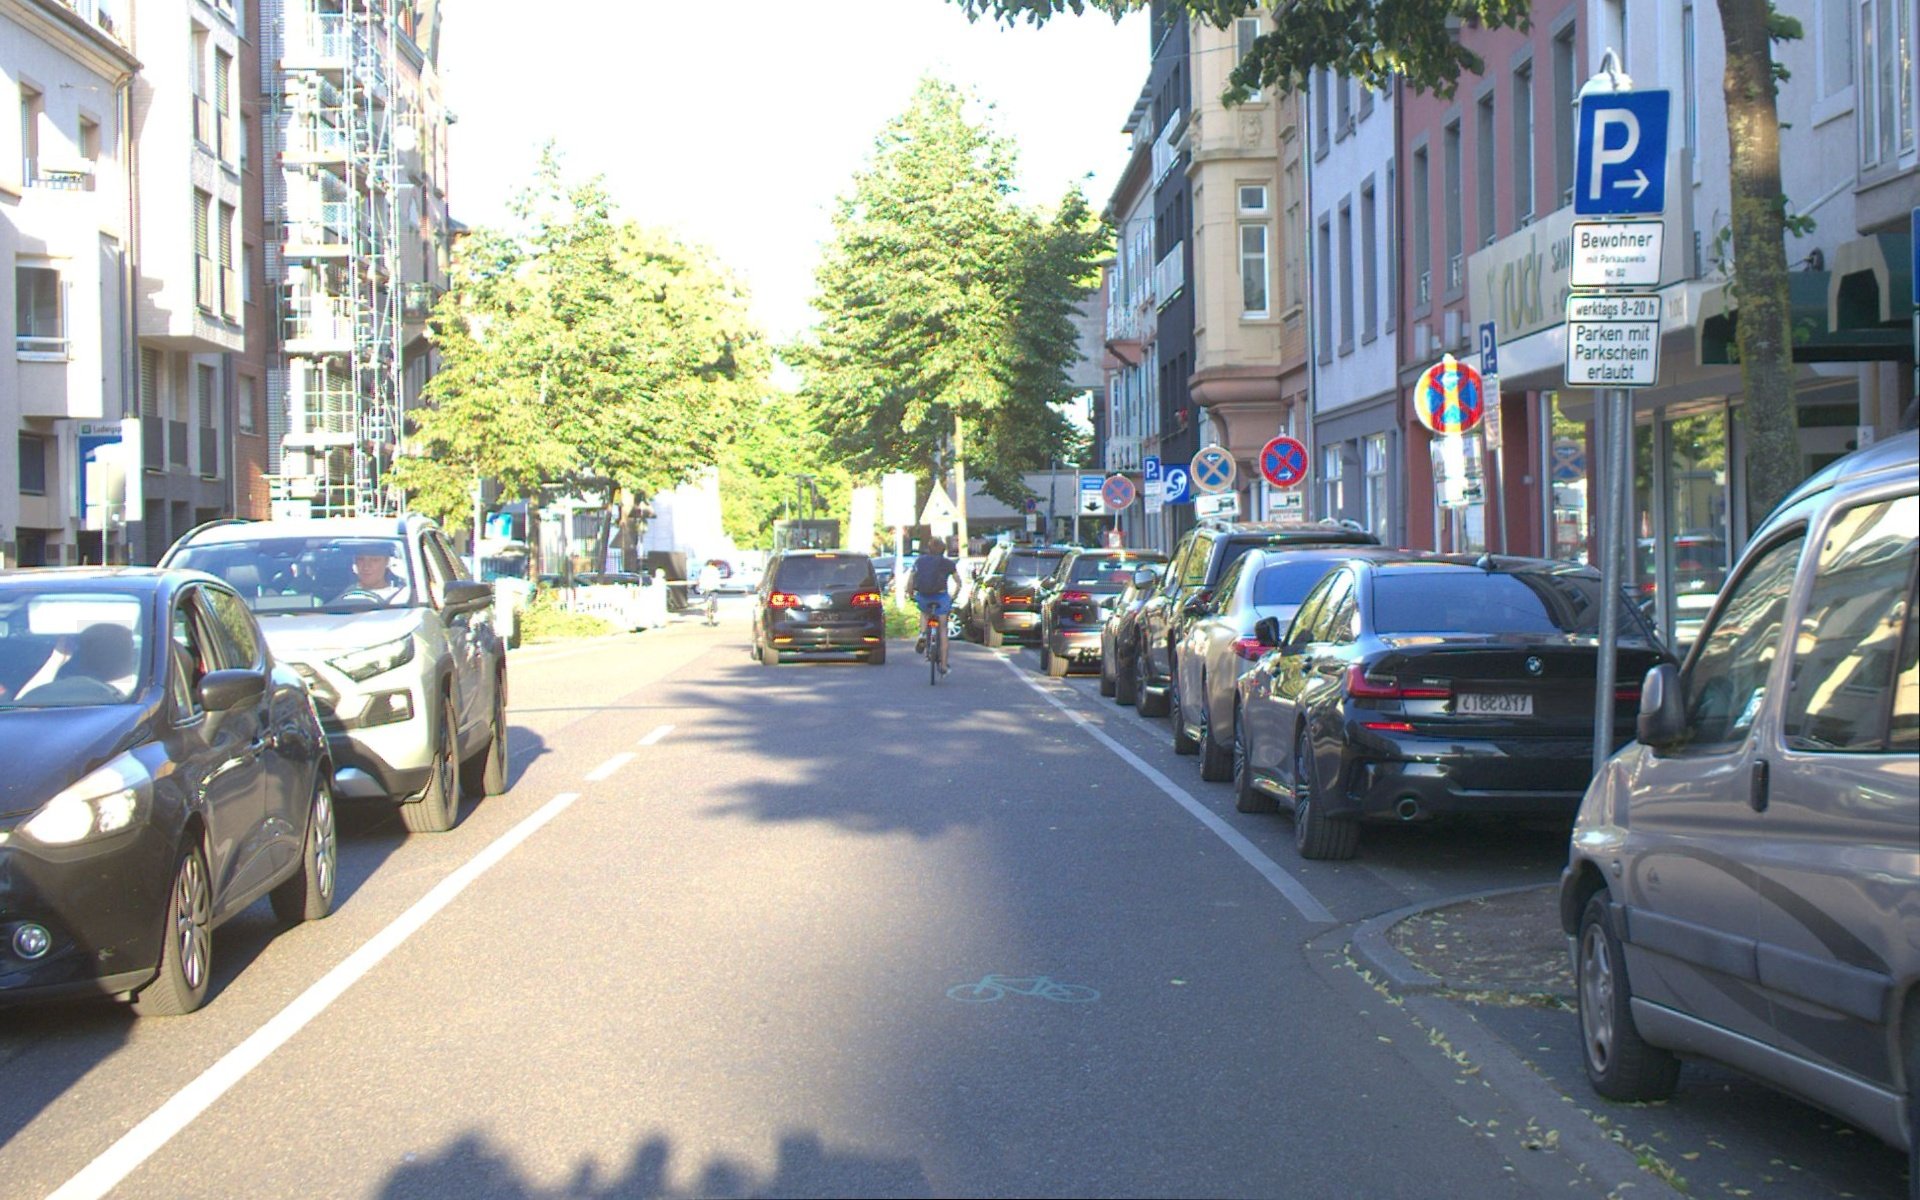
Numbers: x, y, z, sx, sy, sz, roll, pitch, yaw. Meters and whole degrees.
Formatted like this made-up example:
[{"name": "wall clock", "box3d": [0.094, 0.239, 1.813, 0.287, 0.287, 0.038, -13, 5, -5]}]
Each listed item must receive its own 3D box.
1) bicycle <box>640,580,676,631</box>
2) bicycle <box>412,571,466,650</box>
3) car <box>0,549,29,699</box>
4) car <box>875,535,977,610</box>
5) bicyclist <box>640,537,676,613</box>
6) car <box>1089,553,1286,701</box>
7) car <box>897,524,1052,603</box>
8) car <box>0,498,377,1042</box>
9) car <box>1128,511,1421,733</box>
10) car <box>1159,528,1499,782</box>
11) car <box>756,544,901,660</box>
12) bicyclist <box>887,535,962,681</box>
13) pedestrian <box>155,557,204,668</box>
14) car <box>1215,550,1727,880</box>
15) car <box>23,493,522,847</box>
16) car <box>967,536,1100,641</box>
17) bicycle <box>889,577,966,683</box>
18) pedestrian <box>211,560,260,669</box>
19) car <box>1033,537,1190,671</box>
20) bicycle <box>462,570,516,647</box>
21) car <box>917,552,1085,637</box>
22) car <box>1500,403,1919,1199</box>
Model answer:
[{"name": "bicycle", "box3d": [-7.339, 0.123, 83.731, 0.780, 1.200, 2.021, -2, 0, -3]}, {"name": "bicycle", "box3d": [-9.481, 0.185, 62.473, 0.892, 1.391, 3.167, -1, 0, -10]}, {"name": "car", "box3d": [-10.139, 0.231, 32.513, 1.711, 1.449, 3.725, 0, 0, -1]}, {"name": "car", "box3d": [-0.932, -0.711, 91.186, 2.265, 1.760, 4.510, 5, 0, -4]}, {"name": "bicyclist", "box3d": [-7.360, -0.615, 83.835, 0.780, 1.823, 1.007, -2, 0, -3]}, {"name": "car", "box3d": [2.369, 0.268, 36.668, 1.762, 1.478, 4.307, 0, 0, -1]}, {"name": "car", "box3d": [0.409, -0.968, 91.498, 3.987, 2.007, 2.000, -1, 1, 3]}, {"name": "car", "box3d": [-3.283, 0.503, 12.051, 1.723, 1.544, 4.465, -2, 0, -1]}, {"name": "car", "box3d": [2.613, 0.167, 29.733, 1.883, 1.748, 5.059, 0, 0, -2]}, {"name": "car", "box3d": [2.372, 0.326, 23.266, 1.812, 1.522, 4.993, 0, 0, 1]}, {"name": "car", "box3d": [-1.955, 0.021, 49.790, 1.993, 1.596, 4.510, 0, 0, -3]}, {"name": "bicyclist", "box3d": [-0.425, 0.091, 40.742, 0.780, 1.690, 1.007, -2, 0, -3]}, {"name": "pedestrian", "box3d": [-12.458, 0.194, 54.885, 0.716, 1.761, 0.694, 0, 0, -9]}, {"name": "car", "box3d": [2.404, 0.473, 17.301, 1.752, 1.415, 4.510, 0, 1, -2]}, {"name": "car", "box3d": [-3.602, 0.331, 18.884, 1.940, 1.639, 4.739, -2, 0, -3]}, {"name": "car", "box3d": [1.193, -0.189, 57.963, 1.824, 1.689, 4.369, 0, 0, -4]}, {"name": "bicycle", "box3d": [-0.398, 0.341, 40.750, 0.780, 1.200, 2.021, -2, 0, -3]}, {"name": "pedestrian", "box3d": [-11.583, 0.230, 54.979, 0.716, 1.734, 0.739, 0, 0, -9]}, {"name": "car", "box3d": [1.928, 0.045, 44.773, 1.812, 1.662, 4.206, 0, 0, -1]}, {"name": "bicycle", "box3d": [-8.595, 0.146, 62.621, 0.844, 1.346, 3.188, -1, 0, -10]}, {"name": "car", "box3d": [0.742, -0.098, 63.739, 2.968, 1.531, 1.433, 0, 0, -5]}, {"name": "car", "box3d": [2.511, 0.496, 7.811, 1.654, 1.772, 4.012, 0, 1, -4]}]
